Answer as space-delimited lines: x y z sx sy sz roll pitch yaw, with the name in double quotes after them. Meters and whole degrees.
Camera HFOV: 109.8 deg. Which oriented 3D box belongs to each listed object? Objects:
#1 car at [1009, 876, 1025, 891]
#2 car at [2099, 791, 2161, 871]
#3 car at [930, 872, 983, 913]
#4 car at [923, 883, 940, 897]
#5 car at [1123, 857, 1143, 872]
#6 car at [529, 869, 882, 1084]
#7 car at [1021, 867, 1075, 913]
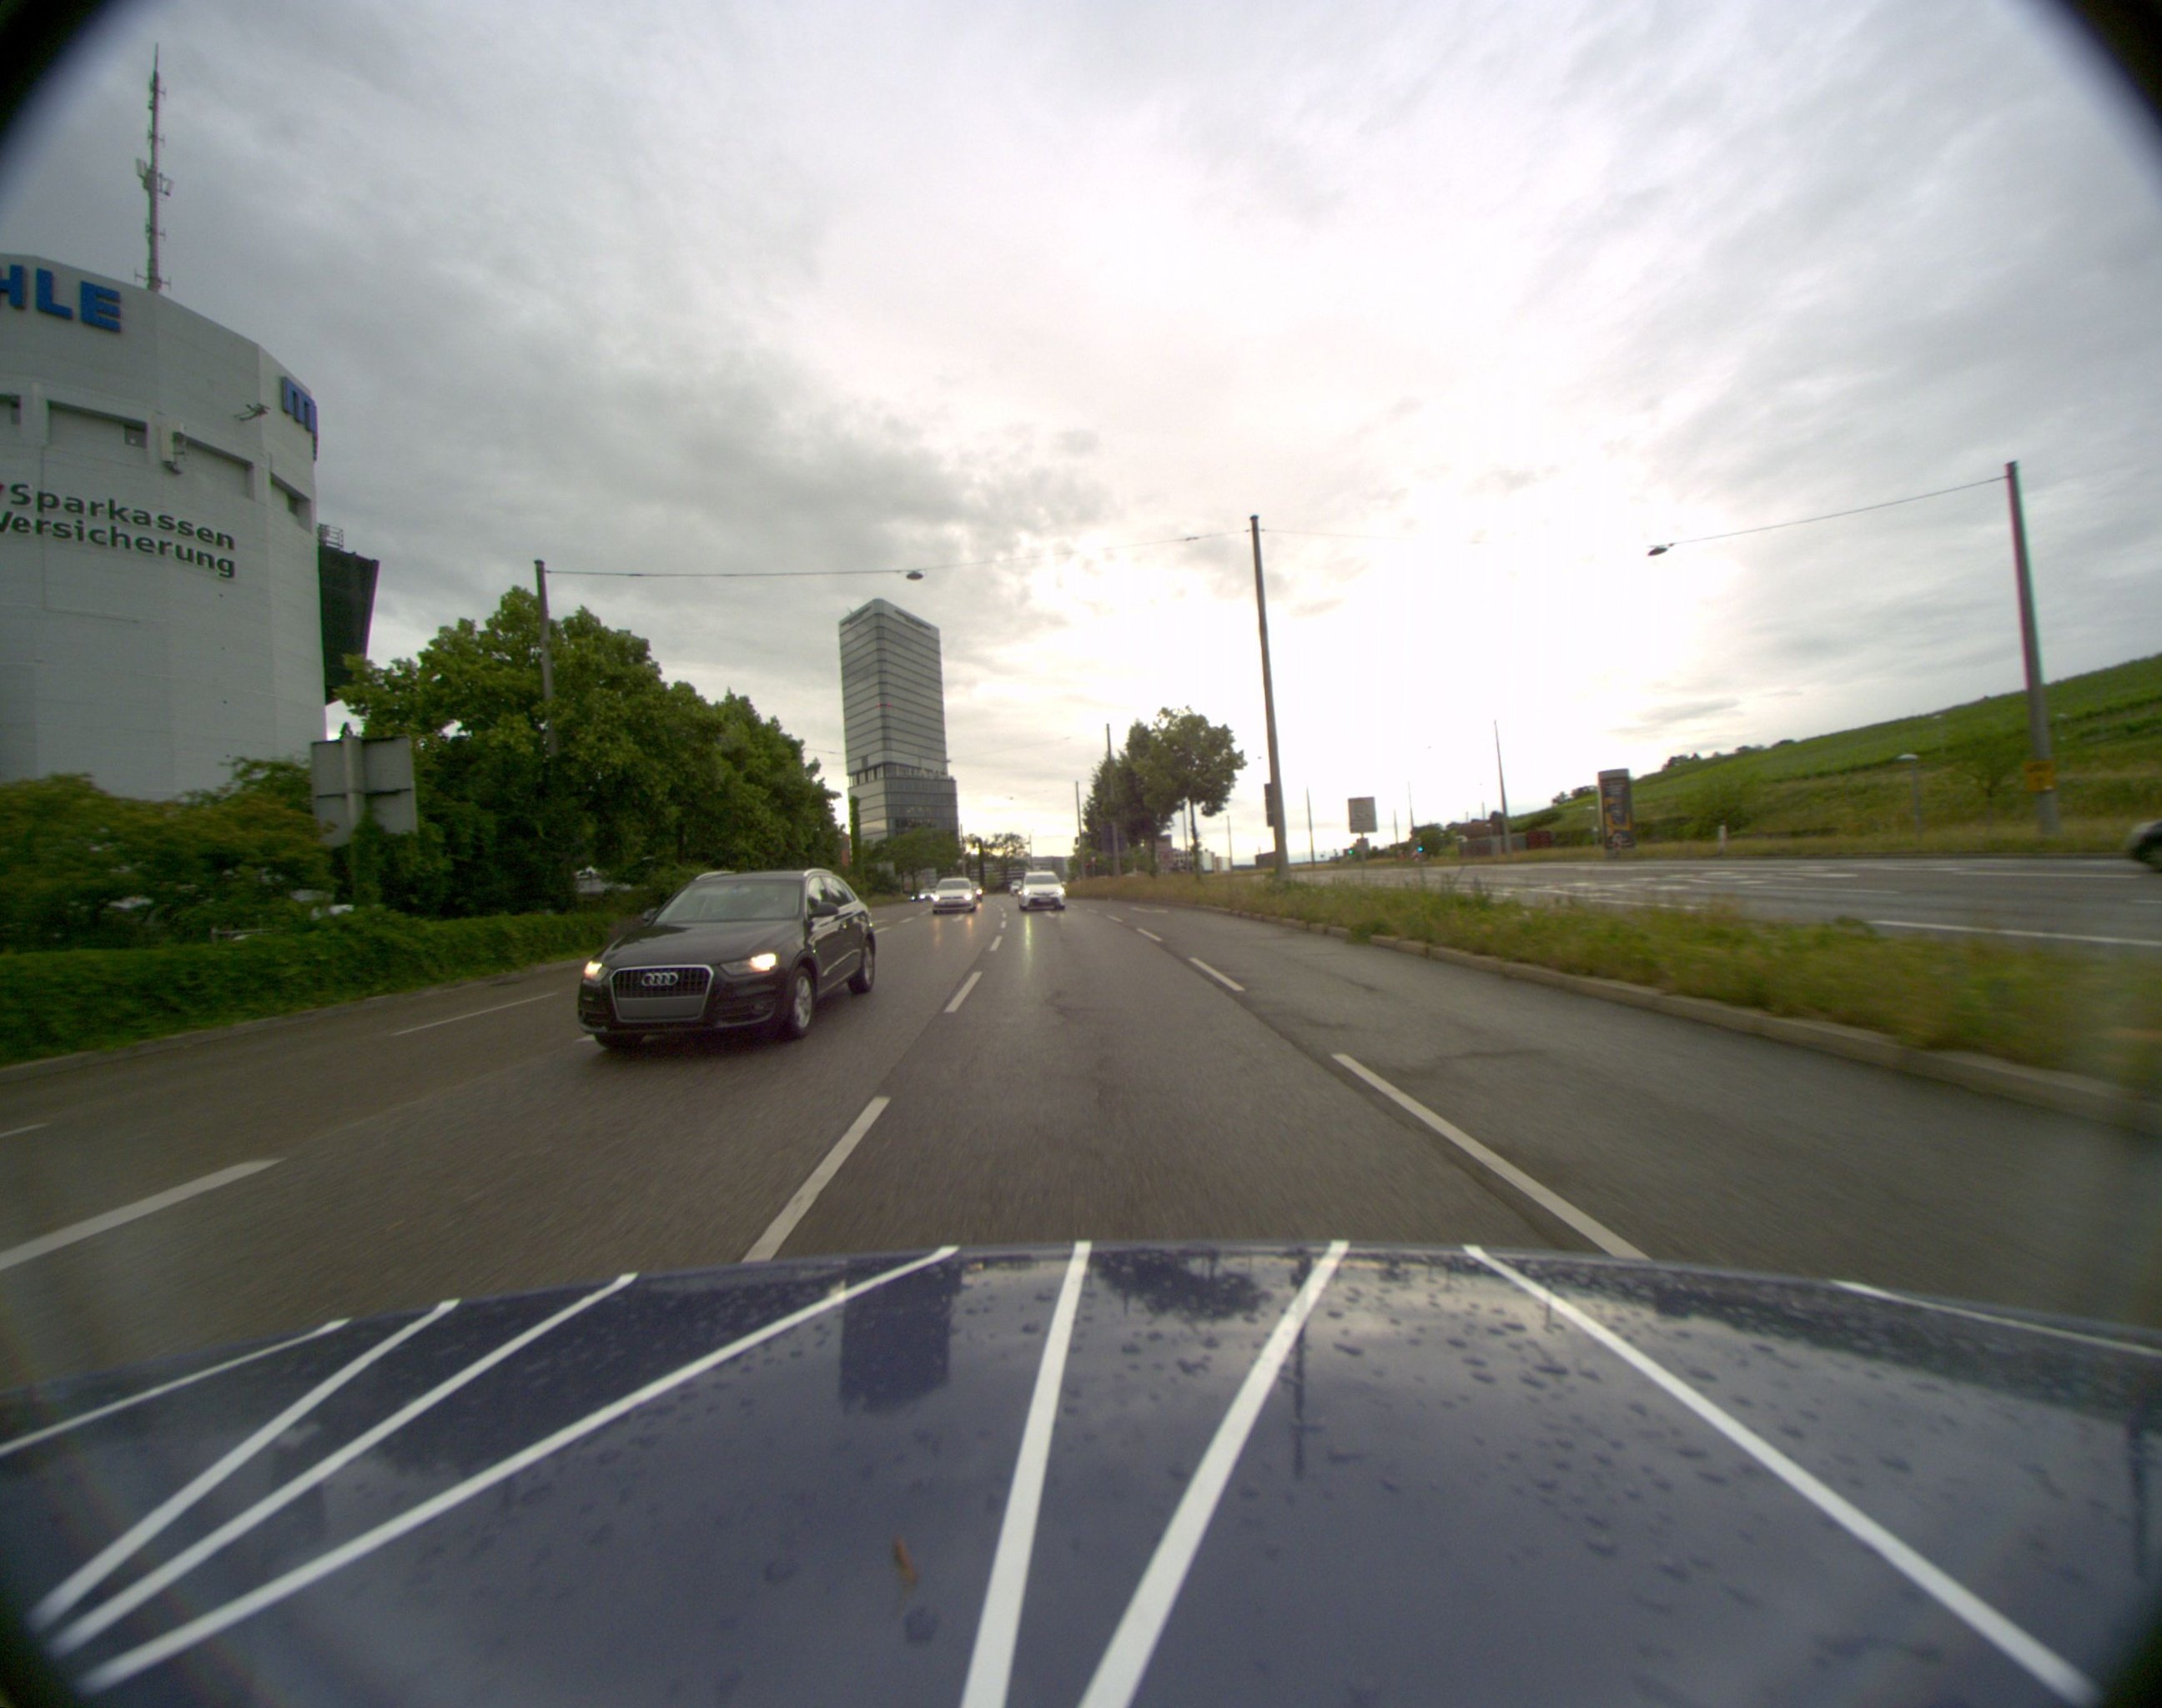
-6.581 3.007 78.495 1.543 1.421 3.807 -4 -1 -4 "car"
19.900 -0.404 12.226 1.771 1.376 3.999 -4 2 3 "car"
-5.181 1.590 32.111 1.730 1.463 4.263 -5 -1 -4 "car"
-17.649 4.276 89.757 1.636 1.467 3.675 -4 -1 -7 "car"
6.287 1.311 92.341 1.772 1.739 4.000 -4 -1 -4 "car"
-3.512 1.007 8.098 1.730 1.525 4.126 -4 0 -2 "car"
-1.448 1.446 31.926 1.828 1.574 4.294 -4 1 -7 "car"
